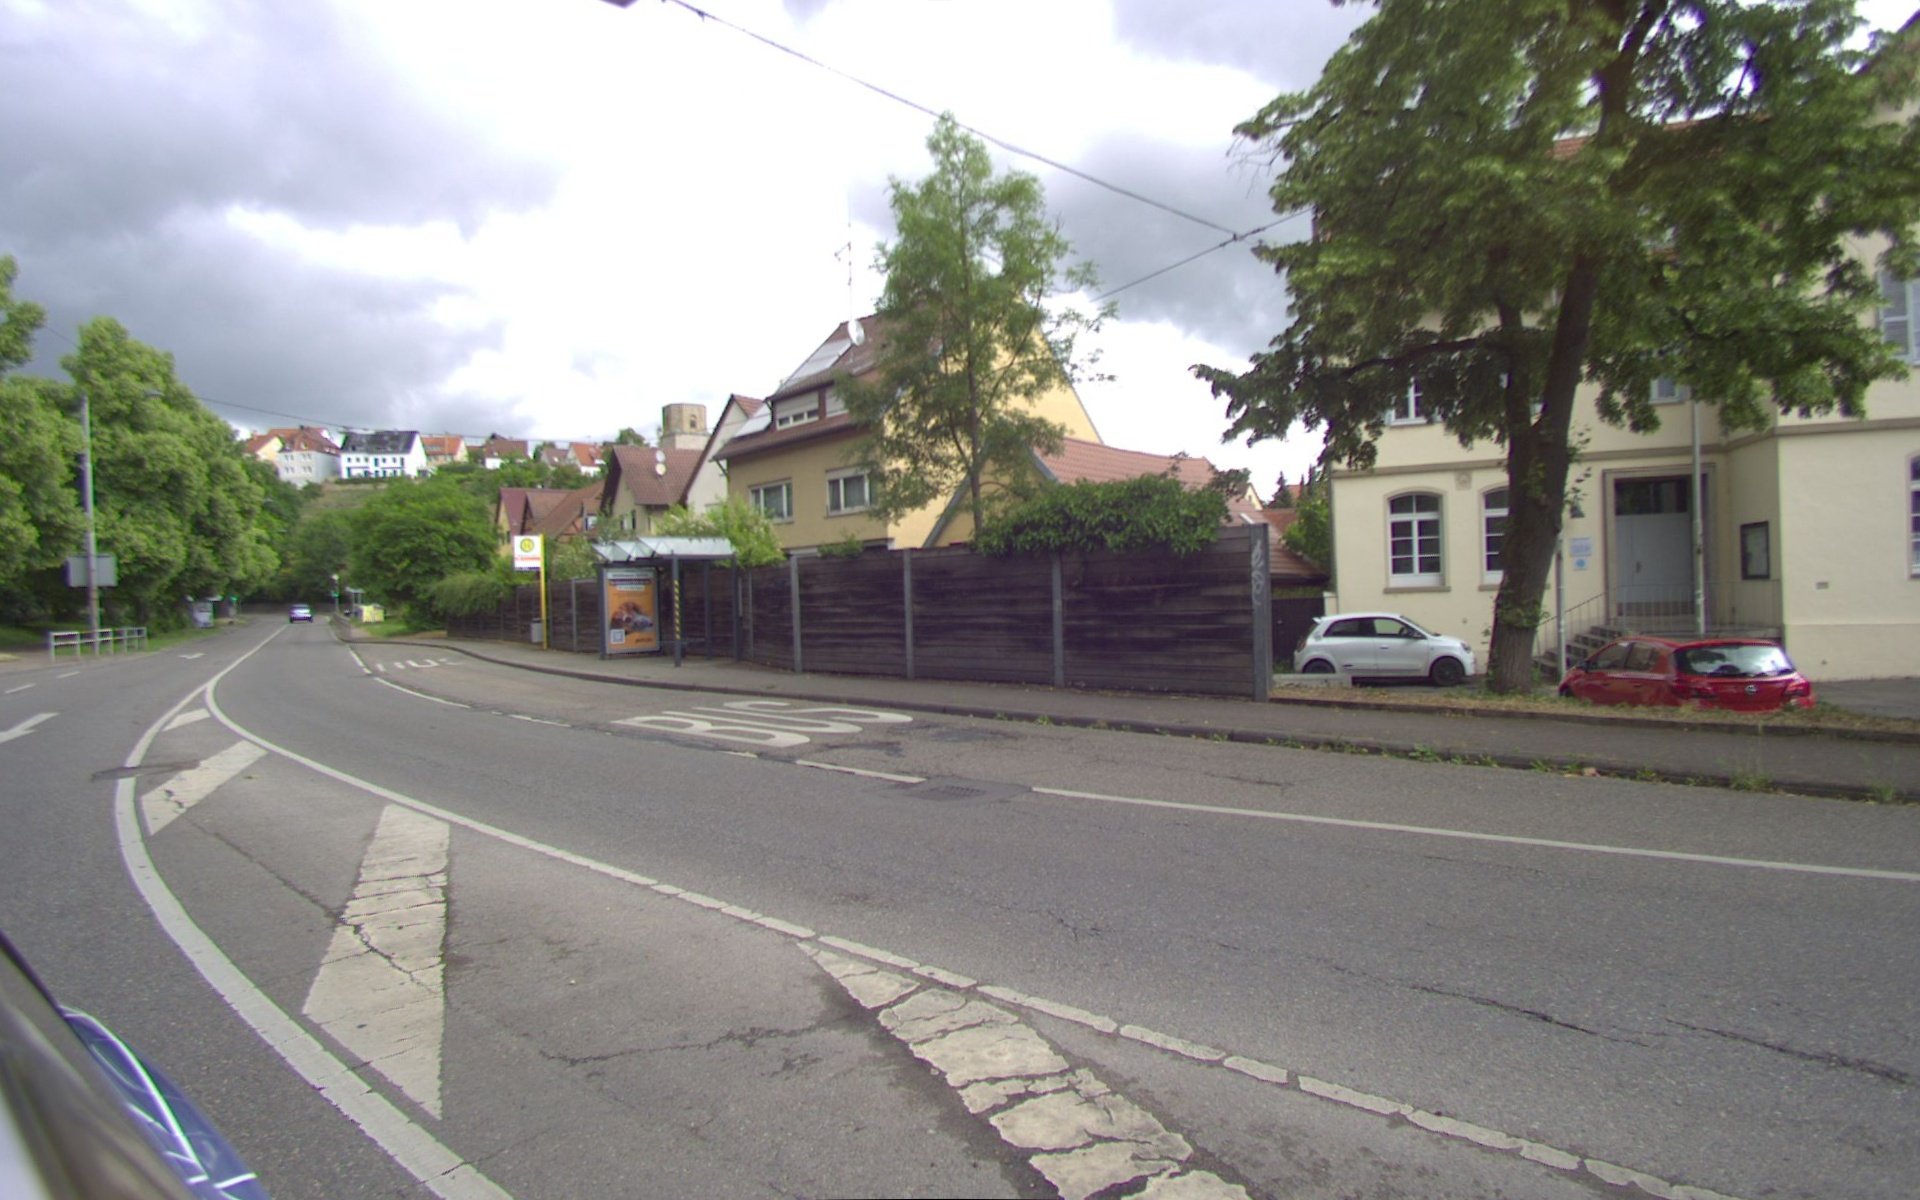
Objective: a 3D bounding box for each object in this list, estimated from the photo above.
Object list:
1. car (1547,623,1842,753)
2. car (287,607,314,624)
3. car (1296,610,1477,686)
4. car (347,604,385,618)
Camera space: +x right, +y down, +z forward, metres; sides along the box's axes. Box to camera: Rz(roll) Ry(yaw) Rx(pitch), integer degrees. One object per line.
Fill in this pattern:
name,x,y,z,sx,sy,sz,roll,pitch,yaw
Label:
car,9.572,1.074,13.590,1.643,1.393,3.710,-1,0,9
car,-64.575,1.507,99.079,1.967,1.630,4.009,-1,0,-36
car,8.989,0.994,21.590,3.409,1.490,1.600,-1,0,19
car,-67.417,1.243,114.926,3.620,1.596,1.770,-1,0,-29
